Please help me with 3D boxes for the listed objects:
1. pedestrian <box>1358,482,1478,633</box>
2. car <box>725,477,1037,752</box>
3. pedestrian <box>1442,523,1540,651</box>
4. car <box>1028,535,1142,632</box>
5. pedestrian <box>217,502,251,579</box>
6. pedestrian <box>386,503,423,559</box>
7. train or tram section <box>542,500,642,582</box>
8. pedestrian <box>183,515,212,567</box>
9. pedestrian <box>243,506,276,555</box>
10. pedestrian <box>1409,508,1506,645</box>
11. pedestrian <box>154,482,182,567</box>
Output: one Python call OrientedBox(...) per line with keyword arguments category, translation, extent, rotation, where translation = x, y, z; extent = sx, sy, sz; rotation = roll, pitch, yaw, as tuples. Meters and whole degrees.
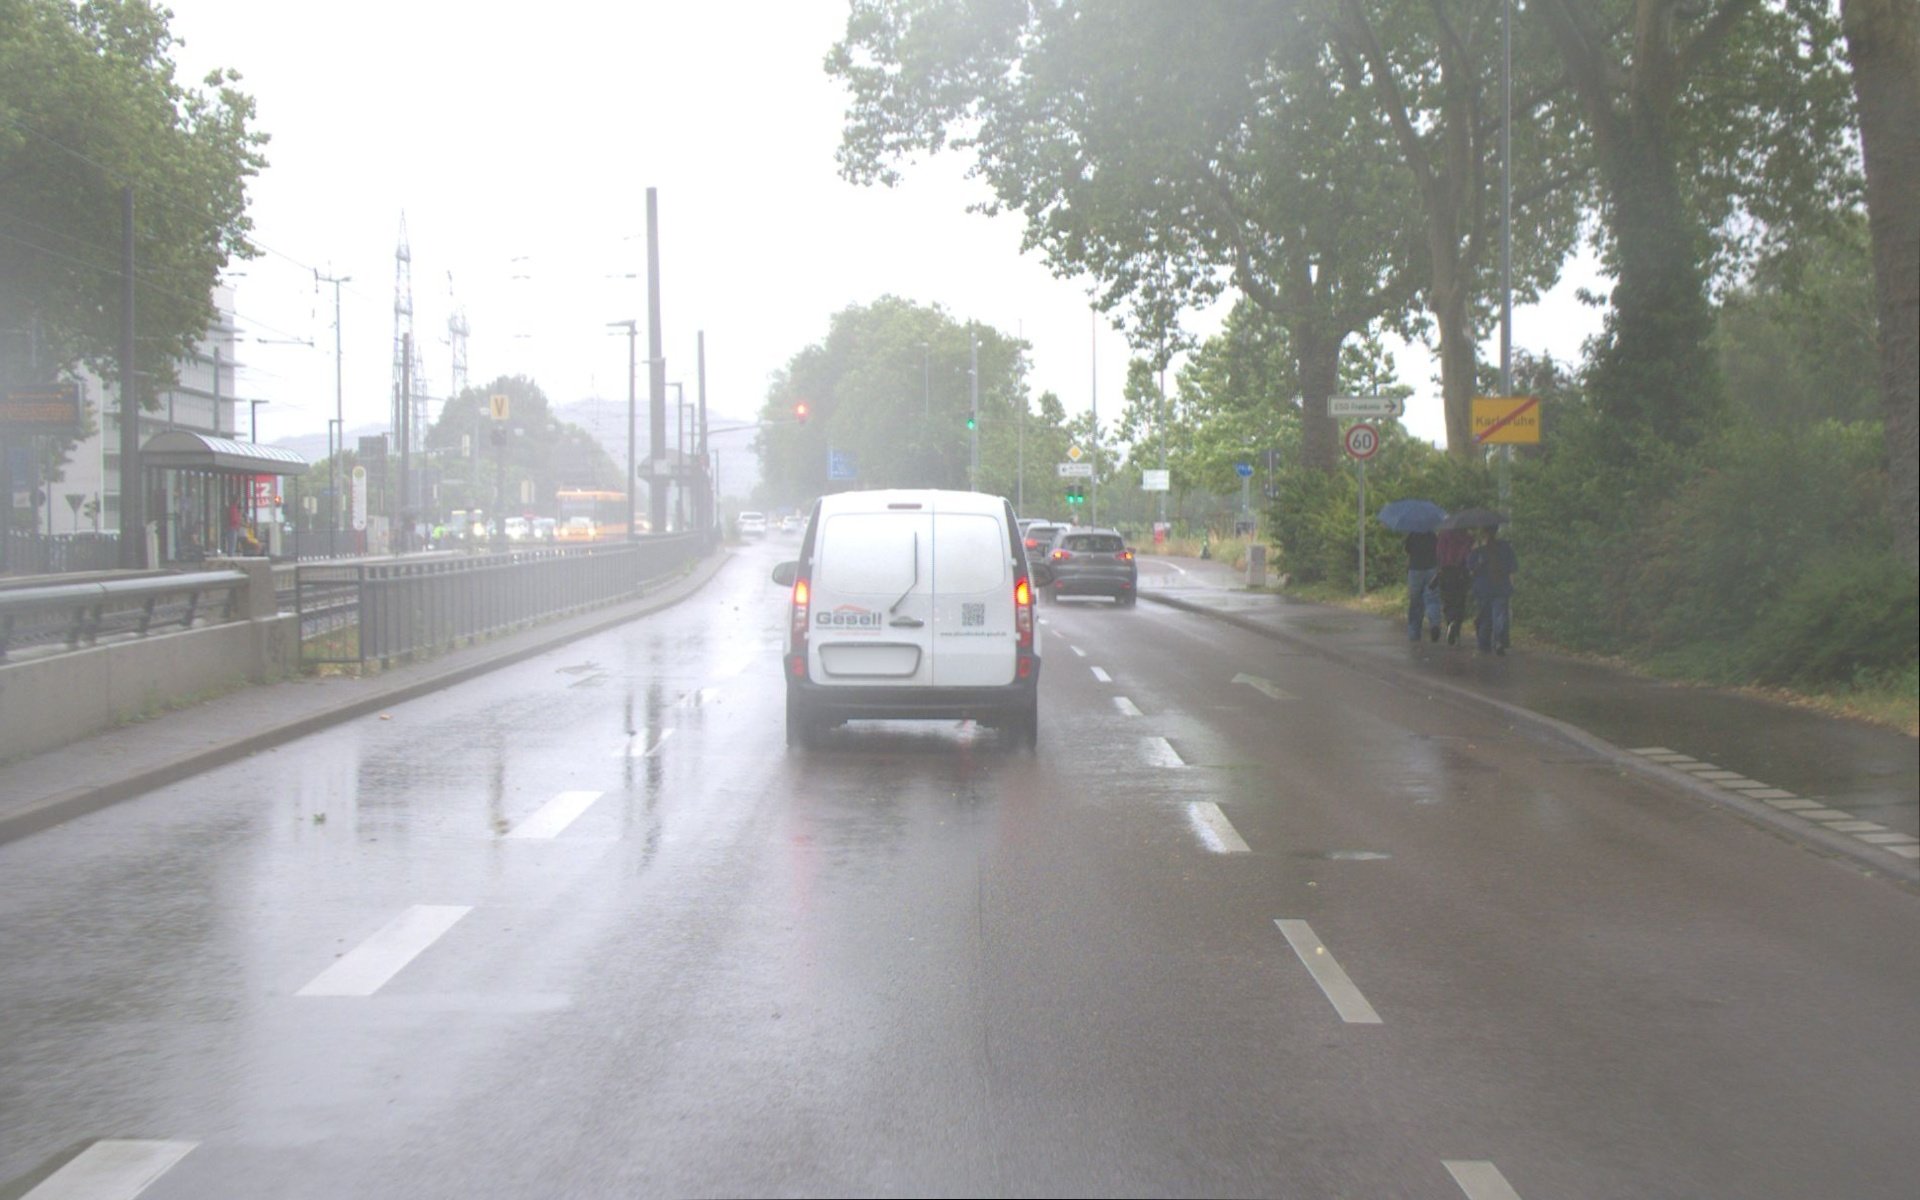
OrientedBox(category="pedestrian", translation=(5.685, -0.523, 42.774), extent=(1.240, 1.779, 1.147), rotation=(-3, 0, 0))
OrientedBox(category="car", translation=(-0.646, 0.071, 25.056), extent=(2.024, 1.769, 4.275), rotation=(2, 1, -3))
OrientedBox(category="pedestrian", translation=(5.893, -0.148, 38.193), extent=(0.892, 1.385, 1.016), rotation=(-2, 0, 0))
OrientedBox(category="car", translation=(2.356, -0.331, 65.941), extent=(1.993, 1.744, 4.000), rotation=(2, 1, 0))
OrientedBox(category="pedestrian", translation=(-18.550, -1.518, 87.867), extent=(0.621, 1.926, 0.814), rotation=(2, 0, 3))
OrientedBox(category="pedestrian", translation=(-20.505, -2.547, 126.892), extent=(1.088, 2.007, 1.096), rotation=(2, 0, 1))
OrientedBox(category="train or tram section", translation=(-19.948, -3.175, 188.137), extent=(3.770, 4.023, 27.096), rotation=(2, 1, -3))
OrientedBox(category="pedestrian", translation=(-18.569, -1.438, 83.762), extent=(0.493, 1.263, 0.664), rotation=(2, 0, 3))
OrientedBox(category="pedestrian", translation=(-19.049, -1.894, 93.468), extent=(0.643, 1.298, 0.814), rotation=(2, 0, 3))
OrientedBox(category="pedestrian", translation=(5.893, -0.280, 40.794), extent=(0.947, 1.583, 1.294), rotation=(-1, 0, 0))
OrientedBox(category="pedestrian", translation=(-18.819, -1.794, 81.734), extent=(0.493, 2.007, 0.582), rotation=(2, 0, -3))
